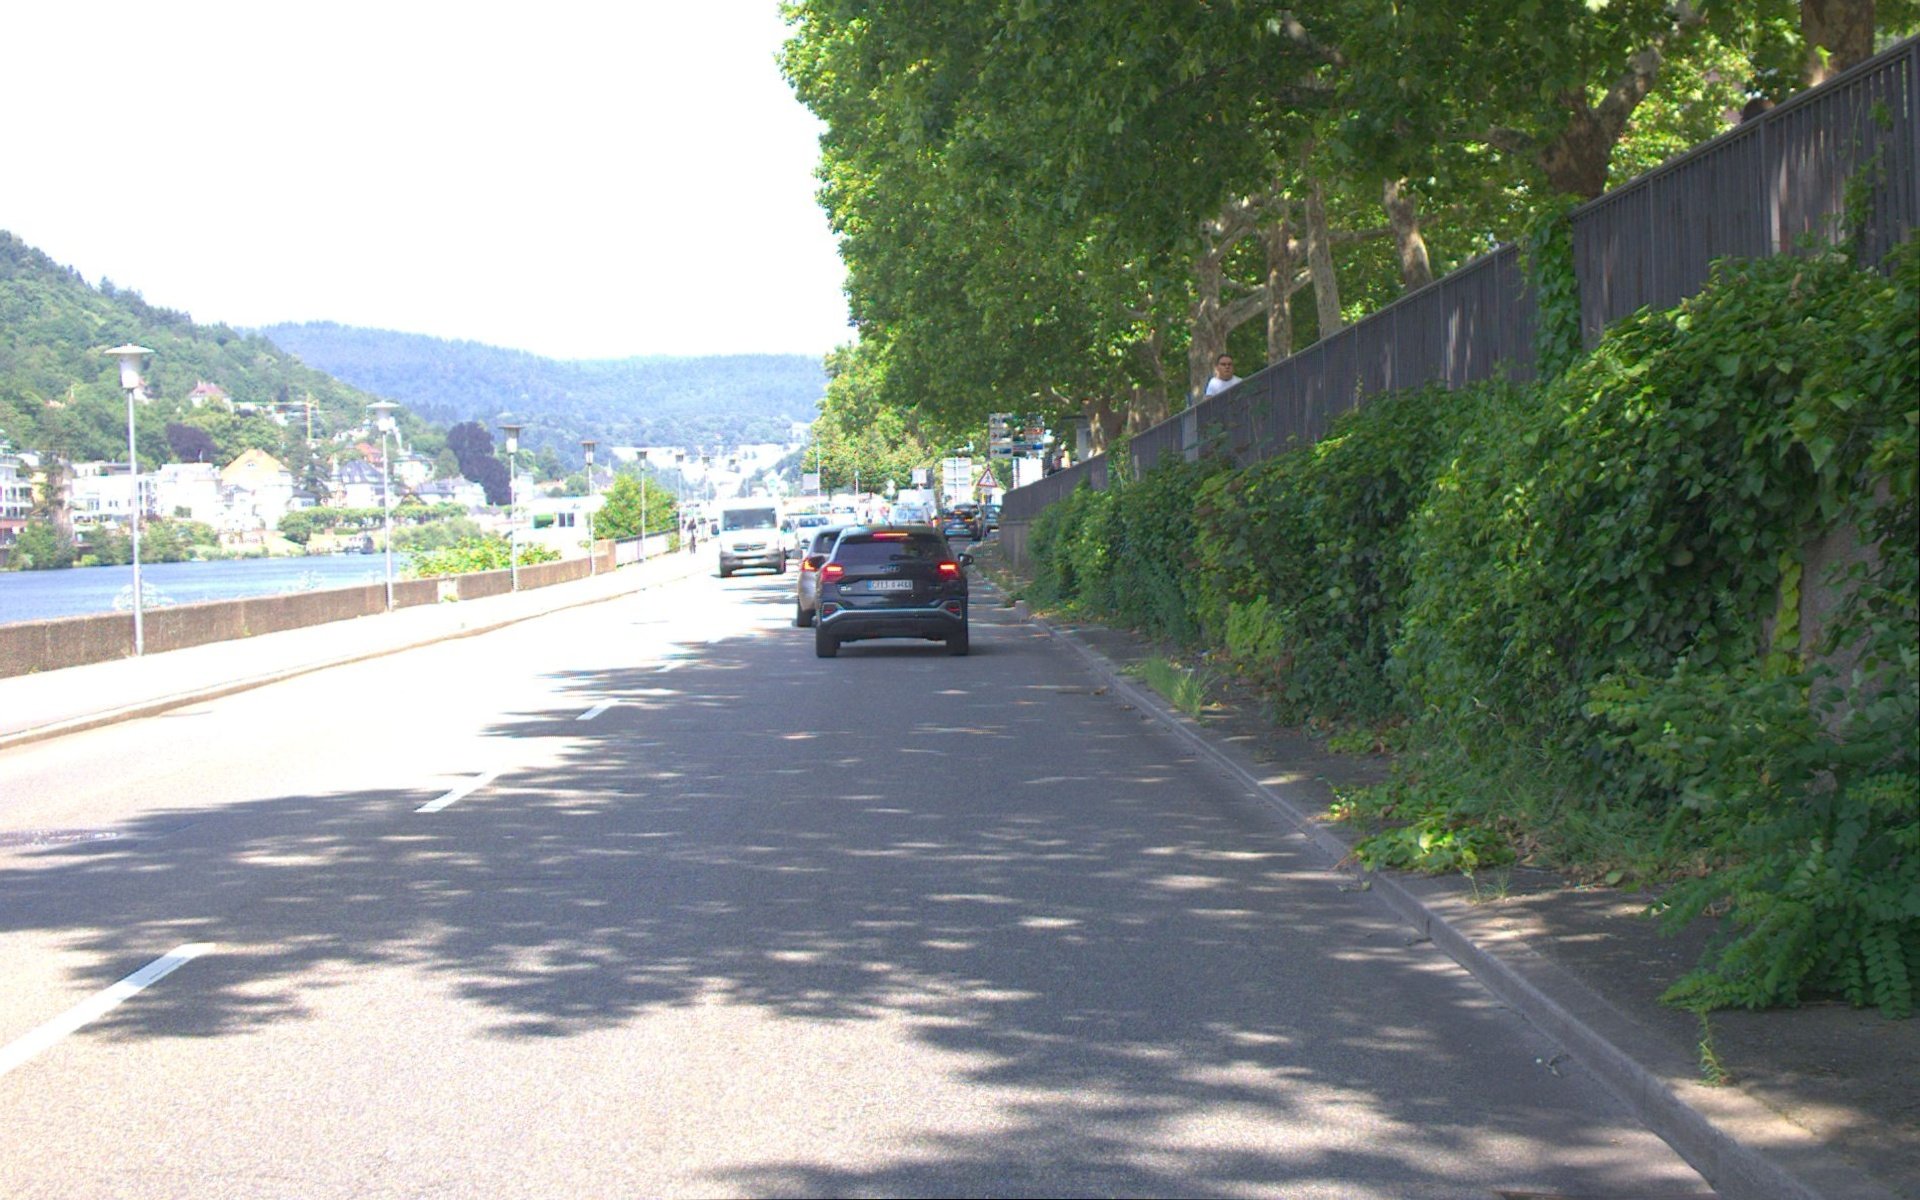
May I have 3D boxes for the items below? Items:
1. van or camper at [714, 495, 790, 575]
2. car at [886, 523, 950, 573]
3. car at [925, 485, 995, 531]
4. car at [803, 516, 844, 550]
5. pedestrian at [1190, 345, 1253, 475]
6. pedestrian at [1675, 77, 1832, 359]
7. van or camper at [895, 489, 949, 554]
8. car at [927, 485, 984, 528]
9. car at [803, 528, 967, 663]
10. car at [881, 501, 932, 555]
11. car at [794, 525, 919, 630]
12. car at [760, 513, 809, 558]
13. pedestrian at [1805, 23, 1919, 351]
[{"bbox_3d":[-6.473,-2.038,107.514,2.077,2.390,5.385,-1,1,-1],"label":"van or camper"},{"bbox_3d":[-1.283,-1.595,103.910,1.828,1.439,4.001,-1,1,-2],"label":"car"},{"bbox_3d":[-0.037,-4.502,168.469,3.098,2.006,5.825,-4,2,-2],"label":"car"},{"bbox_3d":[-6.143,-3.019,154.871,1.731,1.437,4.046,-3,1,-1],"label":"car"},{"bbox_3d":[3.284,-2.383,43.174,0.664,1.585,0.651,-2,1,-1],"label":"pedestrian"},{"bbox_3d":[4.172,-2.001,18.106,0.584,1.414,0.589,-2,1,-9],"label":"pedestrian"},{"bbox_3d":[-1.715,-3.576,155.993,2.310,2.837,4.246,-1,1,1],"label":"van or camper"},{"bbox_3d":[-0.278,-4.883,179.415,2.661,2.006,5.825,-4,2,-2],"label":"car"},{"bbox_3d":[-0.906,-0.095,40.880,1.828,1.481,4.001,-1,2,-2],"label":"car"},{"bbox_3d":[-2.229,-3.004,143.075,1.993,2.162,4.001,-1,1,-2],"label":"car"},{"bbox_3d":[-1.584,-0.374,52.847,1.828,1.506,4.001,-1,2,-2],"label":"car"},{"bbox_3d":[-6.826,-2.533,134.137,1.731,1.644,4.178,-3,1,-1],"label":"car"},{"bbox_3d":[4.868,-2.144,17.948,0.646,1.634,0.627,-2,1,-9],"label":"pedestrian"}]
